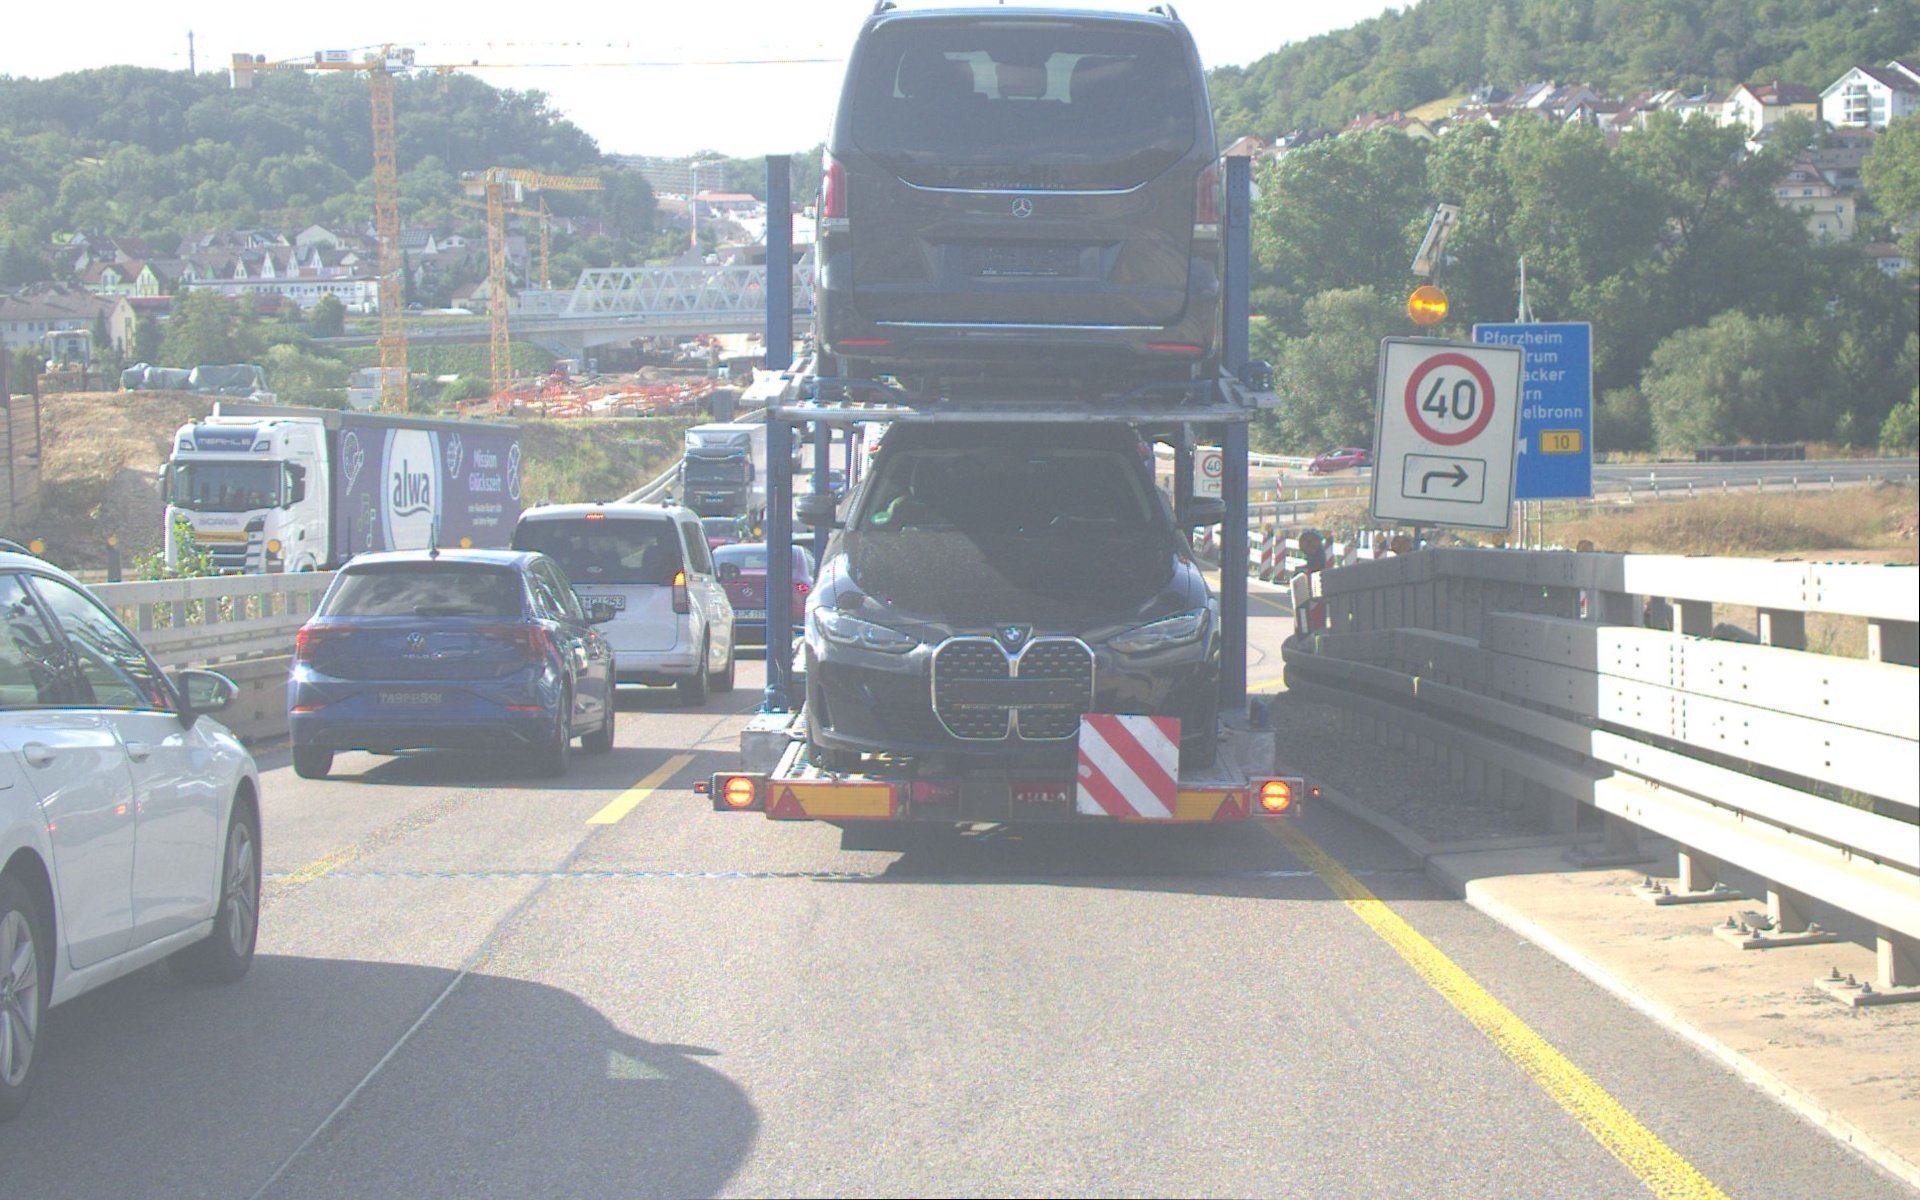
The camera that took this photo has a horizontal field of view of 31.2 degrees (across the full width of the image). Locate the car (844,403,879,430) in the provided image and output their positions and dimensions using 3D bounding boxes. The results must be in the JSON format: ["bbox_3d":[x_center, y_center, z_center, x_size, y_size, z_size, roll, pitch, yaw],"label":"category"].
[{"bbox_3d":[-6.446,-12.006,224.992,2.125,1.668,4.273,-1,2,-3],"label":"car"}]

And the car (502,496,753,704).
[{"bbox_3d":[-3.002,-0.015,31.755,1.823,1.786,4.000,1,0,1],"label":"car"}]

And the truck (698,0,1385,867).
[{"bbox_3d":[0.259,-0.978,23.680,2.753,3.941,18.890,1,0,-1],"label":"truck"}]

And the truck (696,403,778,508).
[{"bbox_3d":[-8.485,-5.439,130.500,2.776,3.775,6.019,0,0,-7],"label":"truck"}]

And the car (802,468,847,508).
[{"bbox_3d":[-6.299,-5.202,159.699,1.993,1.720,4.123,0,0,-4],"label":"car"}]

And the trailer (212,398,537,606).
[{"bbox_3d":[-12.551,-2.018,75.482,2.688,4.141,13.807,1,0,9],"label":"trailer"}]

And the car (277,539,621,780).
[{"bbox_3d":[-3.273,0.326,22.686,1.722,1.417,4.000,0,1,-1],"label":"car"}]

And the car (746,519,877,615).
[{"bbox_3d":[-2.481,-0.558,58.219,1.993,1.547,4.000,1,0,1],"label":"car"}]

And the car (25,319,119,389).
[{"bbox_3d":[-33.037,-9.139,128.061,1.993,2.133,5.322,-5,0,0],"label":"car"}]

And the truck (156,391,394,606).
[{"bbox_3d":[-13.632,-1.972,68.868,2.713,4.123,5.968,1,0,9],"label":"truck"}]

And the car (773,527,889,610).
[{"bbox_3d":[-2.480,-0.615,67.035,1.993,1.547,4.000,1,0,2],"label":"car"}]

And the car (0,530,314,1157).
[{"bbox_3d":[-3.169,0.565,9.729,1.770,1.486,4.517,-1,1,1],"label":"car"}]

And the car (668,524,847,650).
[{"bbox_3d":[-2.610,-0.182,45.254,1.993,1.551,4.401,1,0,1],"label":"car"}]
